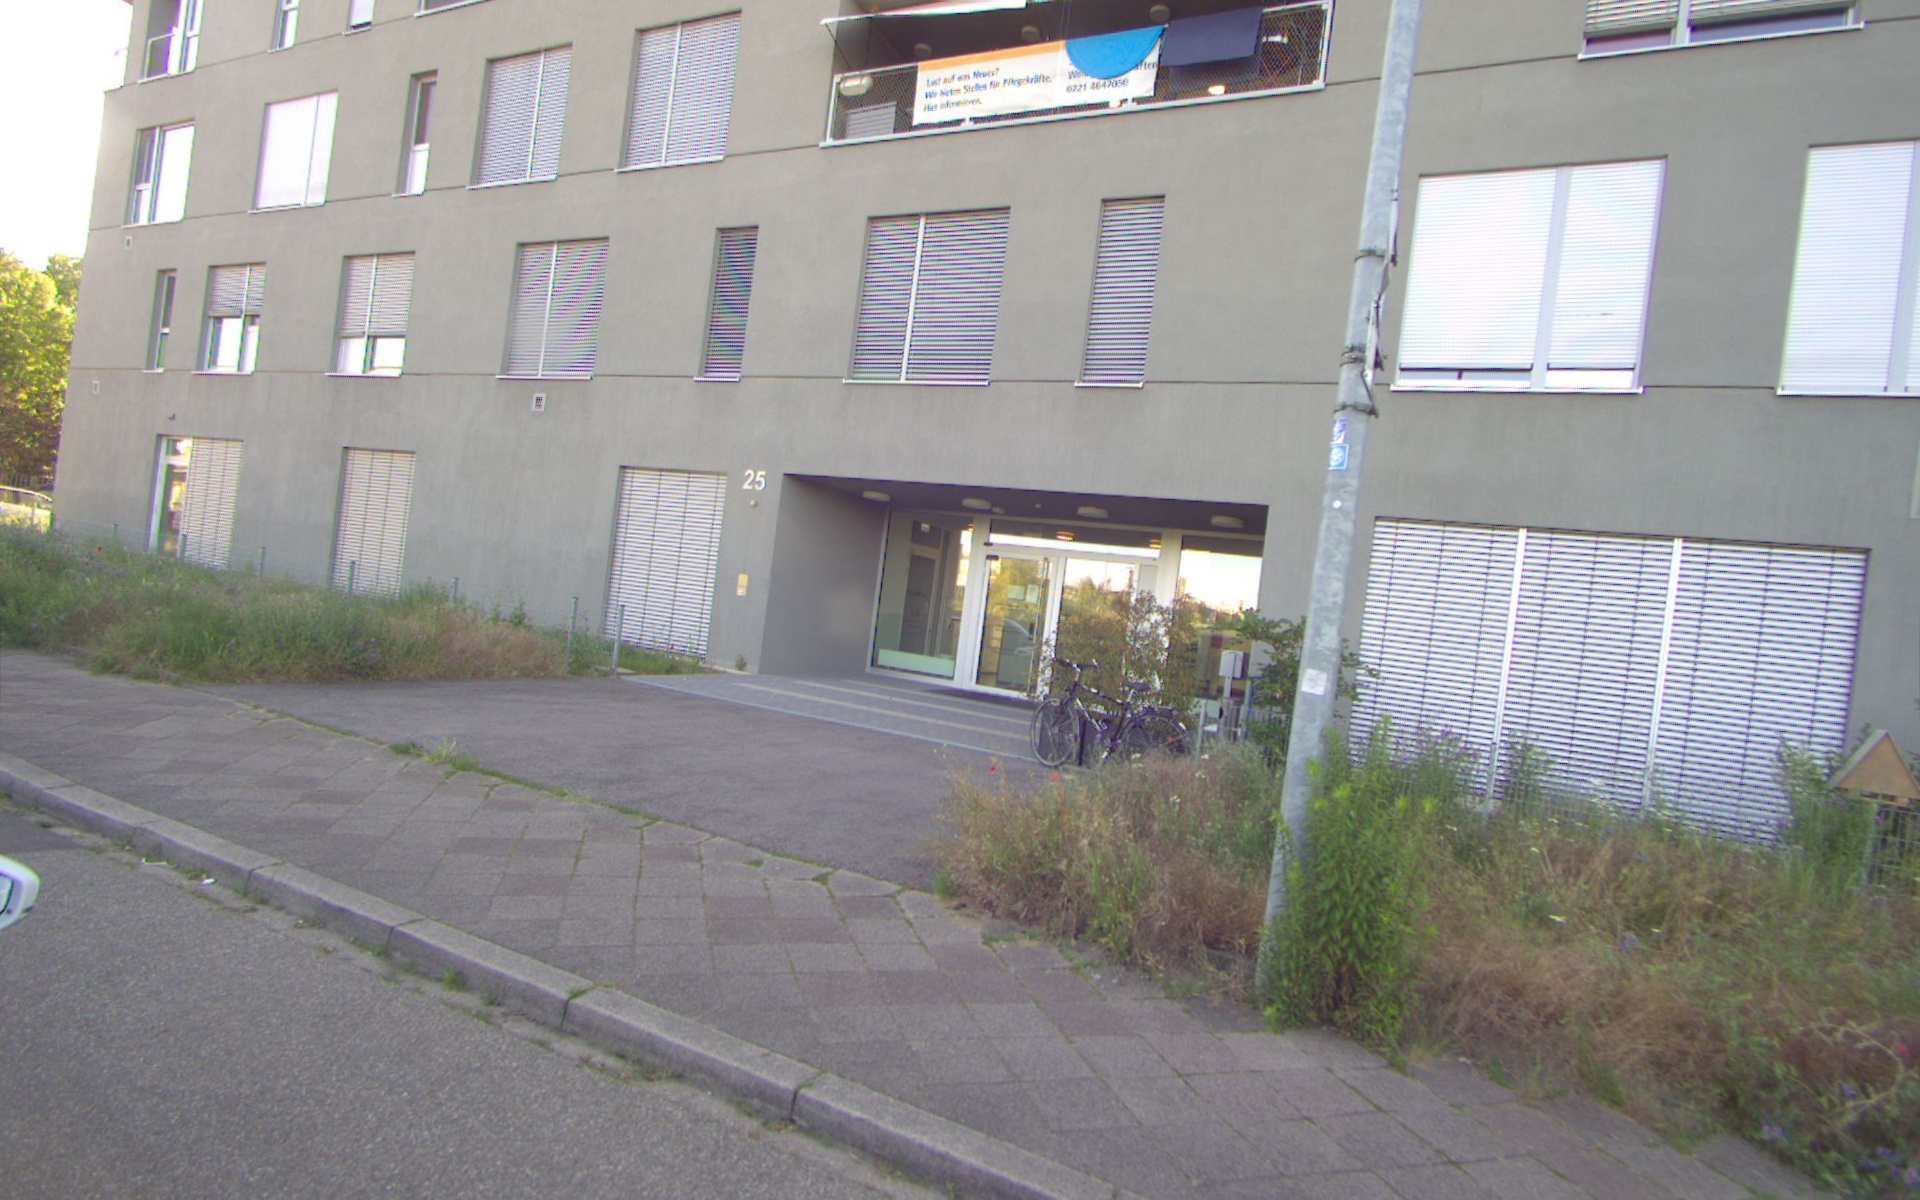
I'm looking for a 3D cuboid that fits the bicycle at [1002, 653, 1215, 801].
[{"bbox_3d":[1.384,1.164,9.545,1.811,1.074,0.553,7,-1,31],"label":"bicycle"}]

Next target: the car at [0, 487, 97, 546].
[{"bbox_3d":[-29.270,-2.700,31.220,1.686,1.476,3.331,7,-1,32],"label":"car"}]
